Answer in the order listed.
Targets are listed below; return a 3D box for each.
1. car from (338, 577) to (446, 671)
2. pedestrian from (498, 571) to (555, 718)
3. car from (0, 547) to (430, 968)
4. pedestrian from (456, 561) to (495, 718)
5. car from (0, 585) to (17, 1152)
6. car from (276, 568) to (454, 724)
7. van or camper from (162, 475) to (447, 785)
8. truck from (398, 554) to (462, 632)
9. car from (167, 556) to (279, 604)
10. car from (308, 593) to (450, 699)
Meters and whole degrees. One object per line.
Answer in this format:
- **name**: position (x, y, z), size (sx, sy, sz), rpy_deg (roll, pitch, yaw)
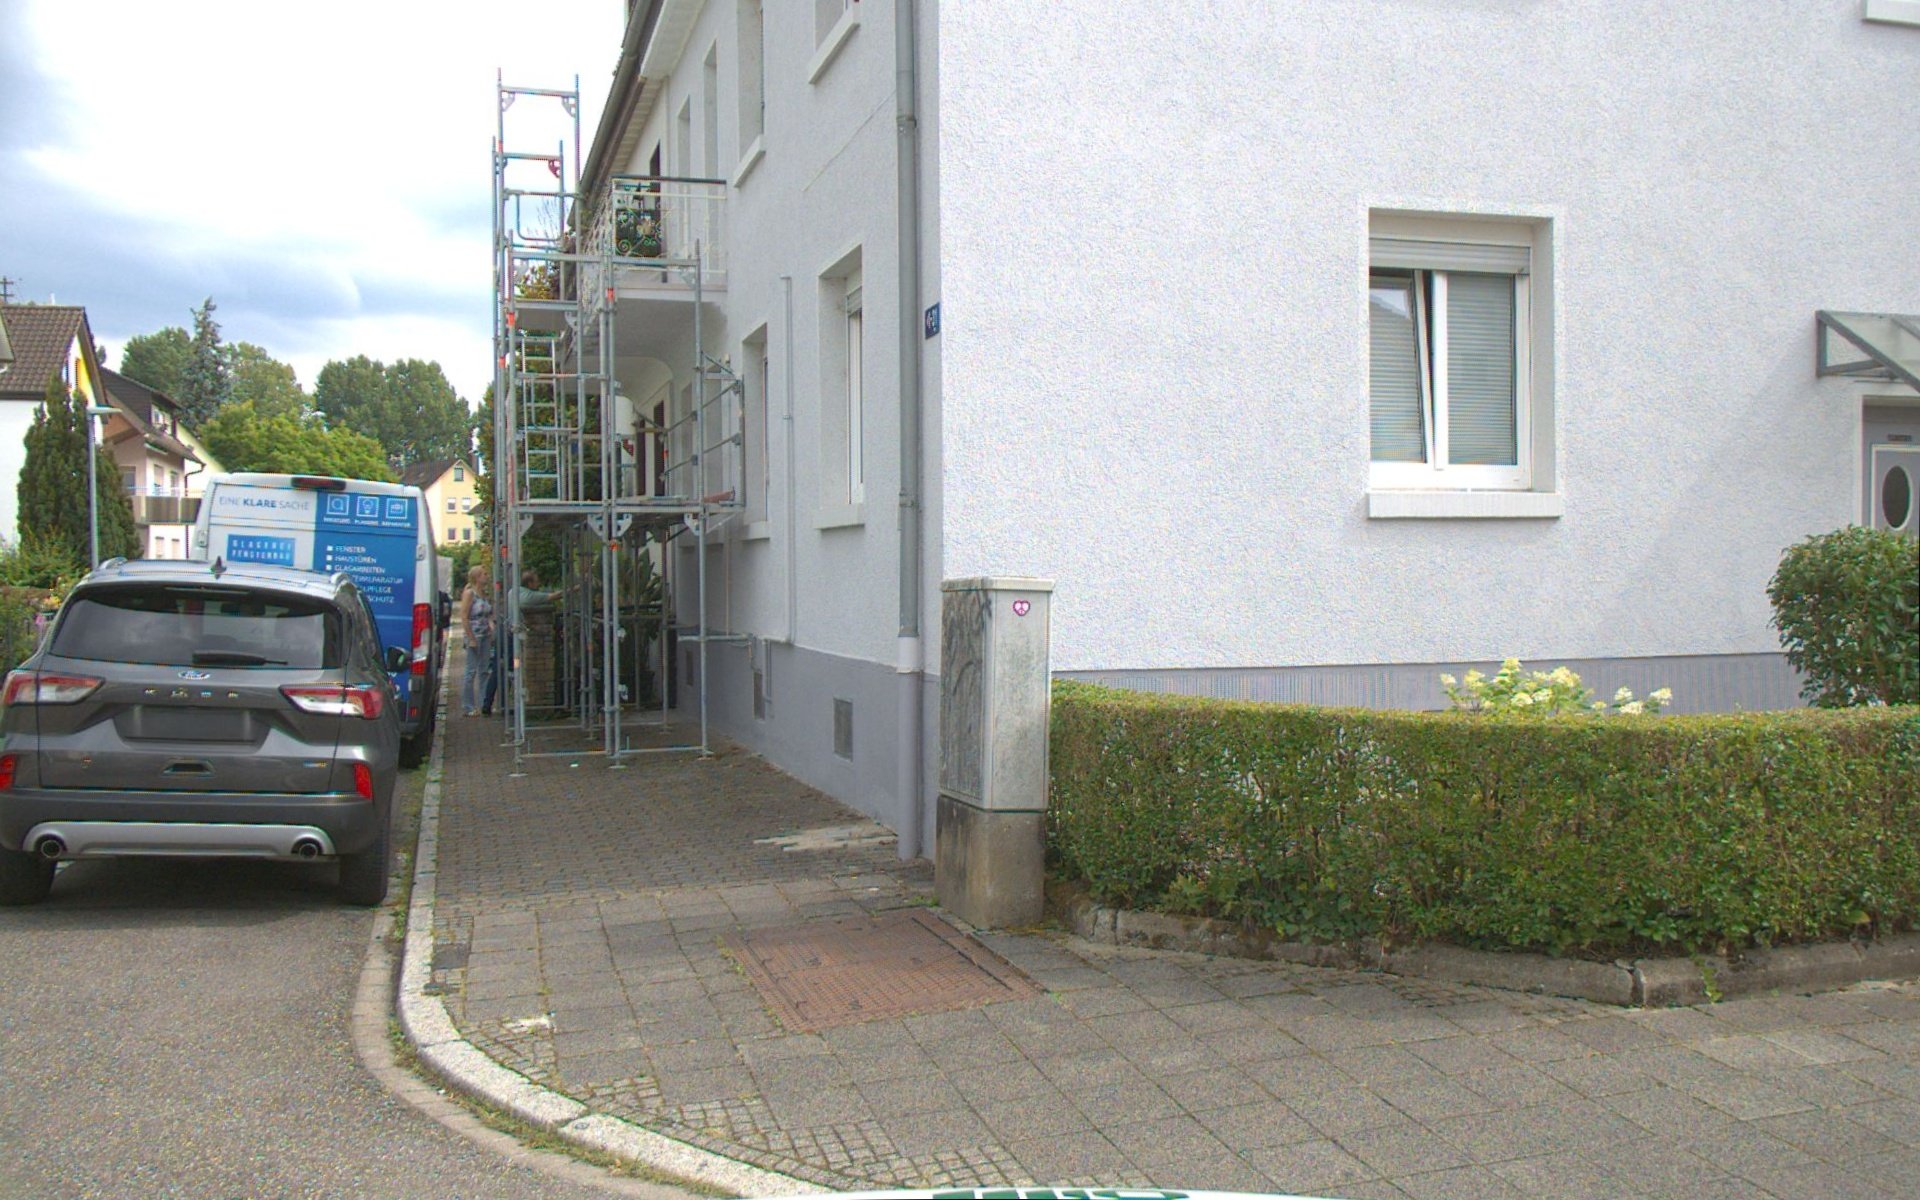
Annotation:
- **car**: position (-11.735, 0.433, 34.153), size (1.964, 1.780, 4.317), rpy_deg (-1, 1, -20)
- **pedestrian**: position (-5.019, 0.506, 19.122), size (0.591, 1.658, 0.622), rpy_deg (-1, -1, -17)
- **car**: position (-4.076, 0.632, 9.266), size (1.964, 1.757, 4.317), rpy_deg (-1, 1, -20)
- **pedestrian**: position (-5.657, 0.454, 19.326), size (0.401, 1.793, 0.511), rpy_deg (-1, -1, -16)
- **car**: position (-3.024, 0.723, 2.467), size (1.786, 1.546, 4.027), rpy_deg (0, 0, -14)
- **car**: position (-7.793, 0.506, 21.769), size (1.964, 1.803, 4.317), rpy_deg (-1, 1, -20)
- **van or camper**: position (-6.160, 0.190, 16.118), size (2.158, 2.502, 5.029), rpy_deg (-1, 1, -18)
- **truck**: position (-19.445, -0.272, 60.576), size (2.098, 2.703, 4.559), rpy_deg (-1, 1, -19)
- **car**: position (-29.506, -0.807, 66.347), size (3.929, 1.803, 1.858), rpy_deg (-1, -1, -21)
- **car**: position (-9.315, 0.669, 26.569), size (1.964, 1.481, 4.317), rpy_deg (-1, 1, -20)
